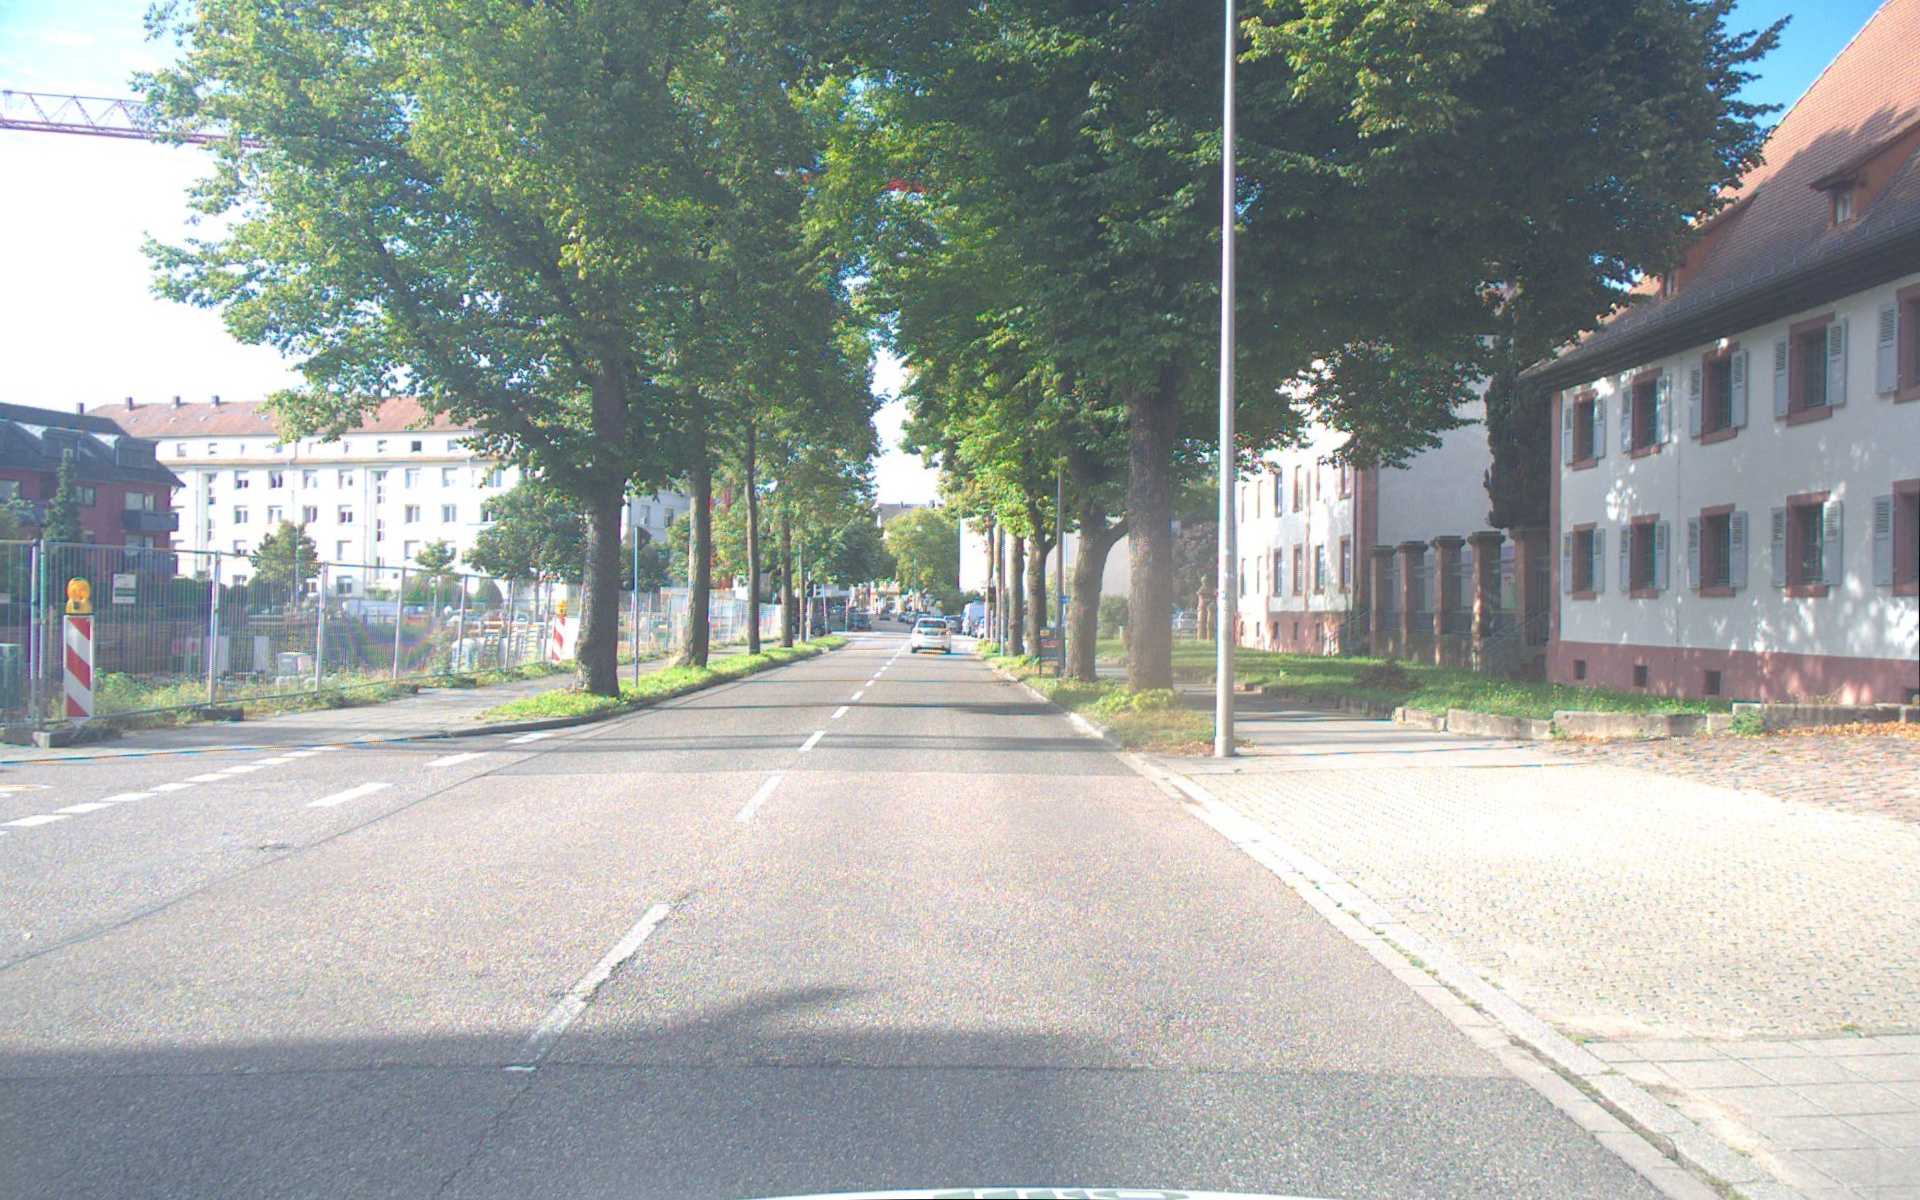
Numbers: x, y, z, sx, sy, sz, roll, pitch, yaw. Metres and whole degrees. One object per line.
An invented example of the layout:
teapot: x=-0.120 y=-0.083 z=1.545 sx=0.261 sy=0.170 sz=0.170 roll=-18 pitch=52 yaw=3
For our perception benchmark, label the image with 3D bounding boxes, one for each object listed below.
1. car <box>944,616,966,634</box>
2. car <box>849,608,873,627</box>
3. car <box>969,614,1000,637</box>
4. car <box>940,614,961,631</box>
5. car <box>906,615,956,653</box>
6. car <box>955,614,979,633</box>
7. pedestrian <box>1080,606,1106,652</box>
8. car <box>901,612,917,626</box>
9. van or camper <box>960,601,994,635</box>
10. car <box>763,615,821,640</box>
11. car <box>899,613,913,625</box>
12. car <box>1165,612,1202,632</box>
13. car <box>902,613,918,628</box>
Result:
car: x=-0.483 y=2.285 z=153.595 sx=1.953 sy=1.601 sz=3.998 roll=0 pitch=0 yaw=-2
car: x=-8.878 y=1.561 z=148.069 sx=1.956 sy=1.668 sz=3.993 roll=0 pitch=0 yaw=-8
car: x=1.827 y=1.925 z=125.966 sx=1.954 sy=1.644 sz=4.404 roll=0 pitch=0 yaw=-4
car: x=-0.936 y=2.180 z=161.449 sx=1.953 sy=1.557 sz=3.998 roll=0 pitch=0 yaw=-2
car: x=-1.328 y=1.527 z=74.293 sx=1.954 sy=1.582 sz=4.270 roll=2 pitch=-1 yaw=-4
car: x=0.584 y=2.032 z=142.897 sx=1.953 sy=1.601 sz=3.998 roll=0 pitch=0 yaw=-2
pedestrian: x=4.754 y=1.034 z=59.177 sx=0.797 sy=1.618 sz=0.769 roll=-1 pitch=-1 yaw=-2
car: x=-6.737 y=2.510 z=219.379 sx=1.953 sy=1.786 sz=3.999 roll=2 pitch=-1 yaw=-1
van or camper: x=1.328 y=1.445 z=131.994 sx=2.166 sy=2.653 sz=5.365 roll=0 pitch=0 yaw=-5
car: x=-11.250 y=1.822 z=110.870 sx=1.955 sy=1.598 sz=3.995 roll=1 pitch=-1 yaw=27
car: x=-7.787 y=2.763 z=240.176 sx=1.953 sy=1.786 sz=3.999 roll=2 pitch=-1 yaw=-1
car: x=16.386 y=1.604 z=121.366 sx=1.954 sy=1.467 sz=3.997 roll=0 pitch=0 yaw=-4
car: x=-6.204 y=2.590 z=205.487 sx=1.953 sy=1.786 sz=3.999 roll=2 pitch=-1 yaw=-1
